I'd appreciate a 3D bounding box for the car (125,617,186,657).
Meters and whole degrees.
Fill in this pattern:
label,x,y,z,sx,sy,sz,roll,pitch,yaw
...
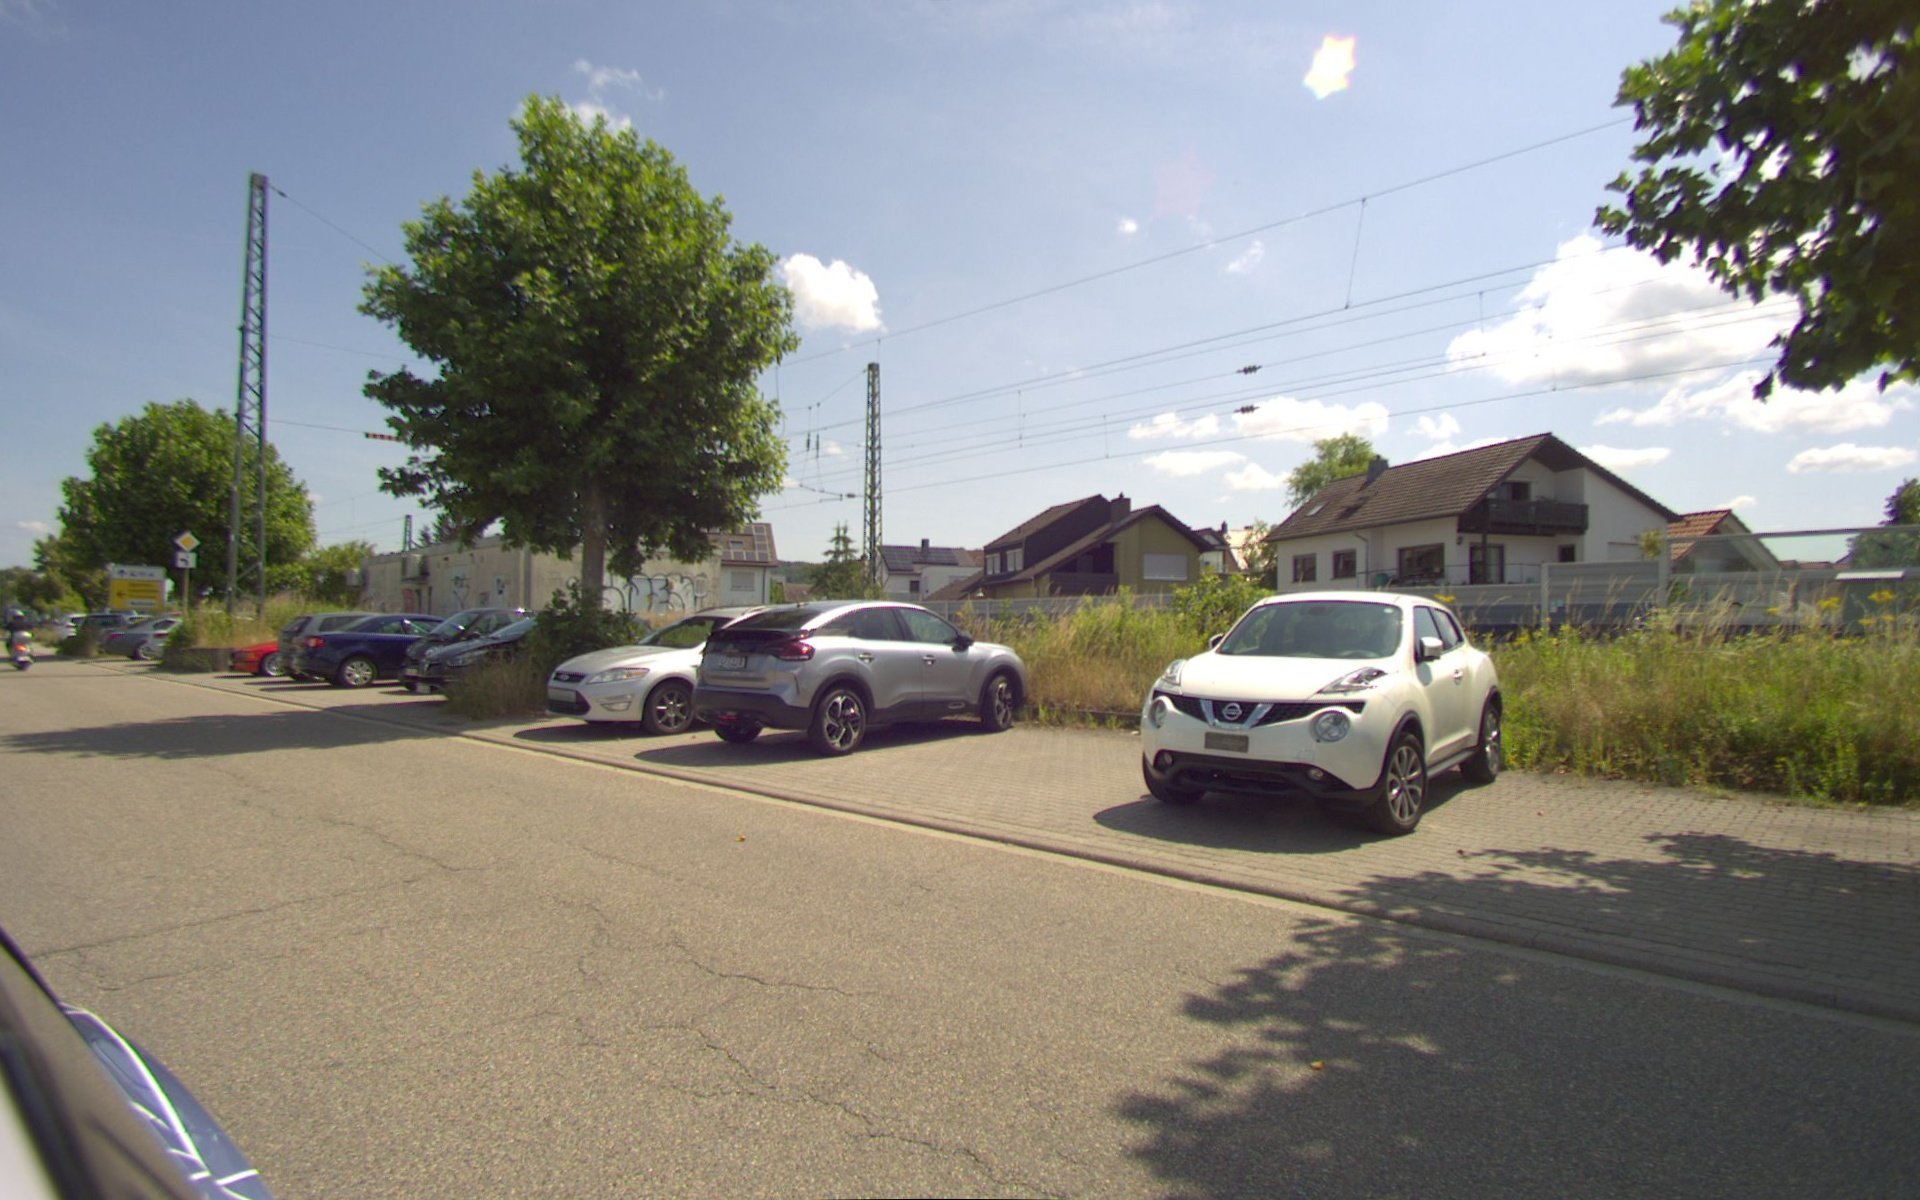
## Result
label,x,y,z,sx,sy,sz,roll,pitch,yaw
car,-32.704,1.493,41.100,1.769,1.548,3.584,2,-3,-41

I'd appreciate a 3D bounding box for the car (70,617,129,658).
label,x,y,z,sx,sy,sz,roll,pitch,yaw
car,-33.970,1.471,39.948,1.664,1.542,4.068,2,-3,-41

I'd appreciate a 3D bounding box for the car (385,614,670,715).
label,x,y,z,sx,sy,sz,roll,pitch,yaw
car,-7.161,1.030,17.060,1.787,1.484,4.028,-1,-3,43

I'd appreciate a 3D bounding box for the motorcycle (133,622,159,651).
label,x,y,z,sx,sy,sz,roll,pitch,yaw
motorcycle,-39.755,1.778,49.397,0.728,1.383,3.217,3,-3,-43

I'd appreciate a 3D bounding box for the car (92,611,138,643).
label,x,y,z,sx,sy,sz,roll,pitch,yaw
car,-50.482,1.633,60.466,1.925,1.847,3.840,3,-3,-42

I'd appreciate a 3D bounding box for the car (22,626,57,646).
label,x,y,z,sx,sy,sz,roll,pitch,yaw
car,-64.674,2.529,71.102,4.001,1.360,1.585,-1,-3,44

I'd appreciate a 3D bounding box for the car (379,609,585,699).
label,x,y,z,sx,sy,sz,roll,pitch,yaw
car,-9.037,0.984,19.285,1.601,1.549,3.155,0,-2,40

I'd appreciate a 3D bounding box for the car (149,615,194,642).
label,x,y,z,sx,sy,sz,roll,pitch,yaw
car,-49.665,1.811,63.719,1.925,1.621,4.277,3,-3,-42

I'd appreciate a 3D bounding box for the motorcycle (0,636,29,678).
label,x,y,z,sx,sy,sz,roll,pitch,yaw
motorcycle,-25.955,1.545,27.700,1.954,1.059,0.458,-1,-1,41

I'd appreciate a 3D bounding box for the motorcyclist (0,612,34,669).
label,x,y,z,sx,sy,sz,roll,pitch,yaw
motorcyclist,-25.993,1.097,27.755,0.921,1.520,0.767,-1,-2,41

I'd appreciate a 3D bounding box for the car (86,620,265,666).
label,x,y,z,sx,sy,sz,roll,pitch,yaw
car,-25.947,1.418,33.594,1.786,1.421,4.381,-1,-3,40

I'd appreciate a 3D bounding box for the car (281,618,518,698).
label,x,y,z,sx,sy,sz,roll,pitch,yaw
car,-11.326,1.126,20.594,3.898,1.461,1.788,2,-2,-43

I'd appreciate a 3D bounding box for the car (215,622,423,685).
label,x,y,z,sx,sy,sz,roll,pitch,yaw
car,-15.565,1.259,24.730,1.674,1.379,4.028,-3,-3,43

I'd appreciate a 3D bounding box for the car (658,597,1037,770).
label,x,y,z,sx,sy,sz,roll,pitch,yaw
car,-1.098,0.802,11.335,1.999,1.559,3.946,-1,-2,40

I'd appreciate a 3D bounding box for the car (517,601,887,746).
label,x,y,z,sx,sy,sz,roll,pitch,yaw
car,-3.157,0.826,13.041,1.926,1.544,4.291,-2,-2,42

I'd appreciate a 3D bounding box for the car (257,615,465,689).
label,x,y,z,sx,sy,sz,roll,pitch,yaw
car,-13.189,1.092,22.428,1.683,1.459,3.628,-1,-1,41

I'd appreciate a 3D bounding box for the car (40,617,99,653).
label,x,y,z,sx,sy,sz,roll,pitch,yaw
car,-41.251,1.617,46.855,1.782,1.576,4.265,3,-3,-45

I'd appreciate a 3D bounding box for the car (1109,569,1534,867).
label,x,y,z,sx,sy,sz,roll,pitch,yaw
car,2.937,0.708,7.685,1.849,1.630,3.931,-1,-2,39

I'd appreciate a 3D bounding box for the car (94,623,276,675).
label,x,y,z,sx,sy,sz,roll,pitch,yaw
car,-22.949,1.403,30.077,1.785,1.412,4.031,-1,-1,40
